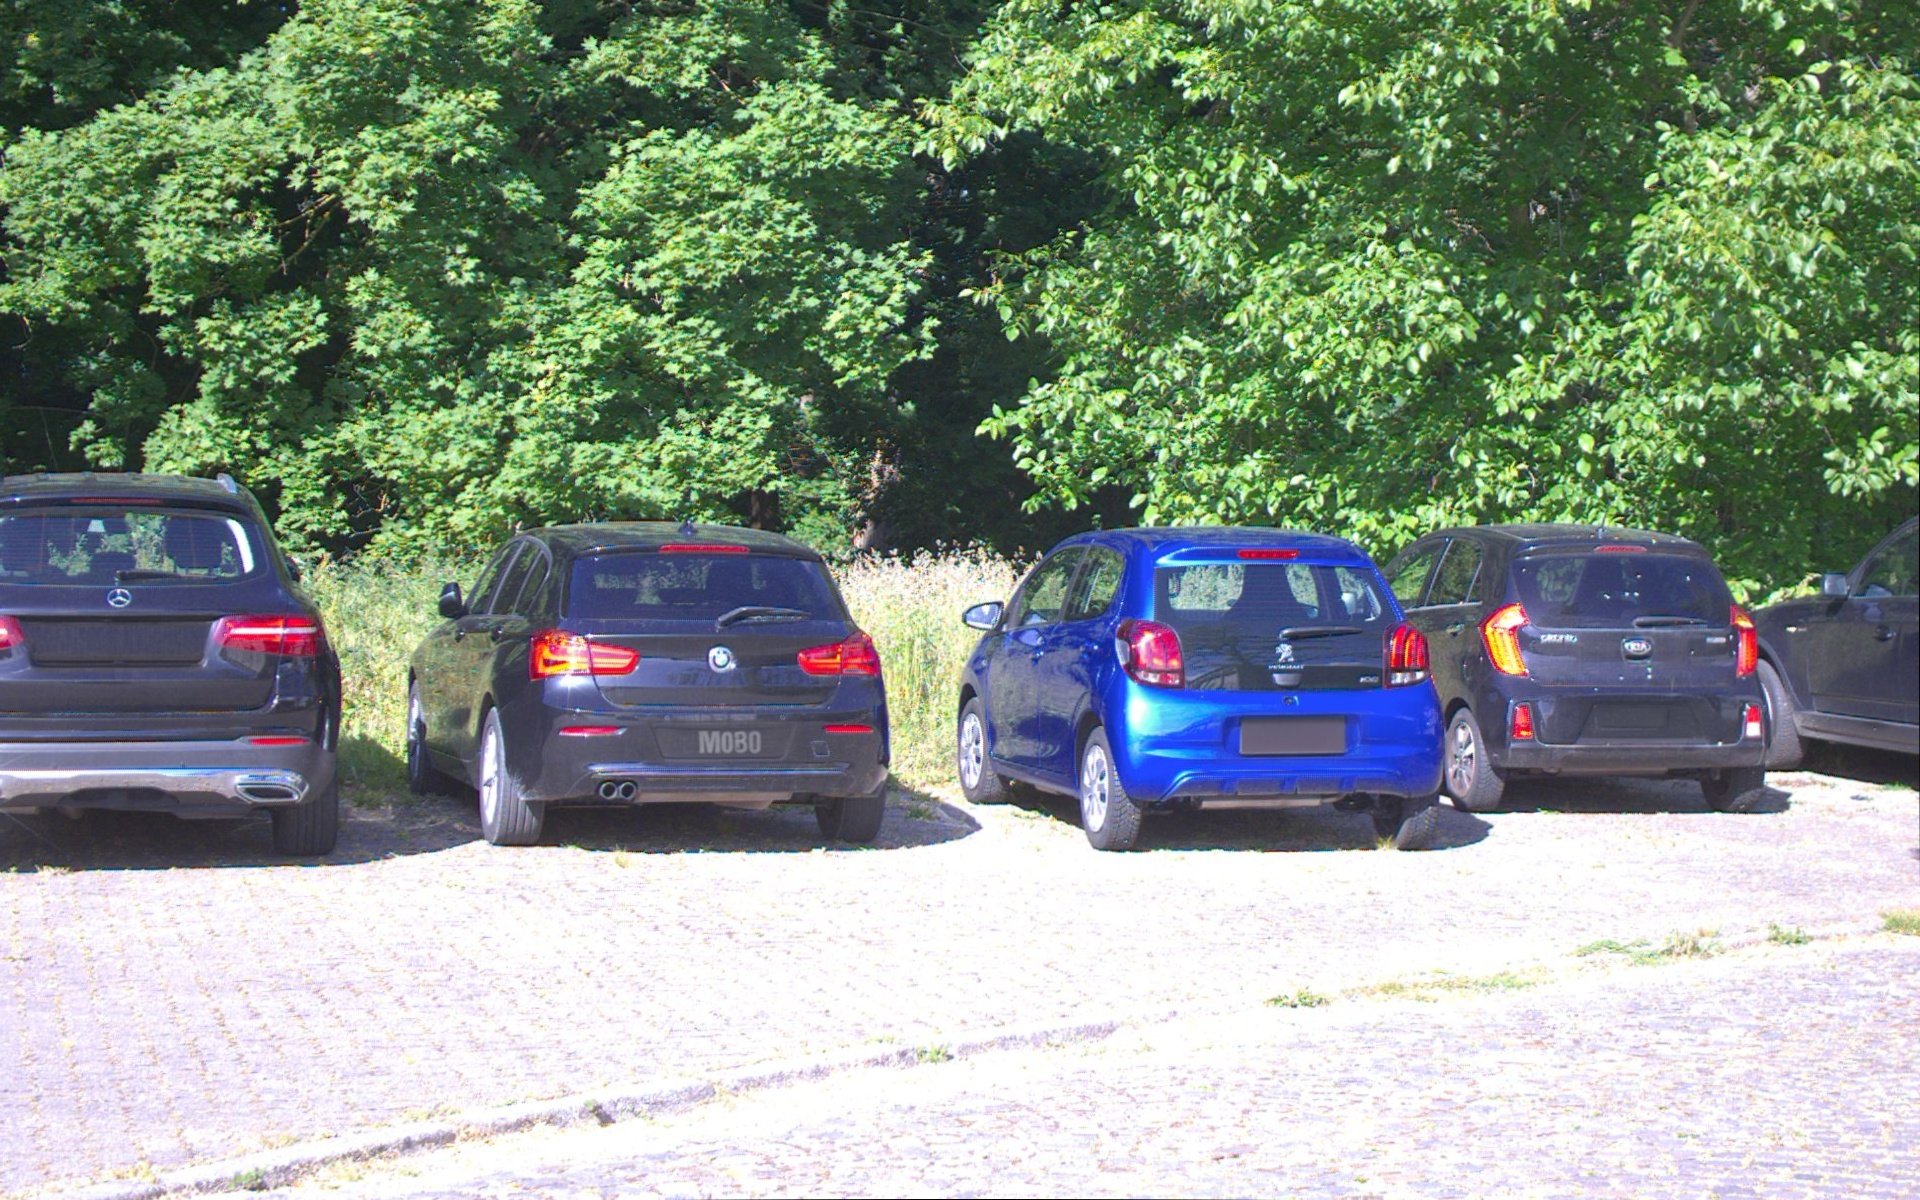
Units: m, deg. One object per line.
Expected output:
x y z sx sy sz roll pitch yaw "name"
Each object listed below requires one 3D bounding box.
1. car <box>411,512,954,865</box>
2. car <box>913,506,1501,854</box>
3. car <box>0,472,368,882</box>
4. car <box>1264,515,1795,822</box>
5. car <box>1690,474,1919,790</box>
-1.440 0.327 16.292 1.888 1.406 3.791 1 2 -15 "car"
1.084 0.307 17.032 1.779 1.453 3.791 1 2 -14 "car"
-3.865 0.233 15.514 1.963 1.584 4.133 1 2 -15 "car"
3.006 0.304 18.947 1.738 1.446 3.726 1 2 -10 "car"
5.976 0.191 19.117 1.874 1.625 4.275 0 4 -17 "car"
